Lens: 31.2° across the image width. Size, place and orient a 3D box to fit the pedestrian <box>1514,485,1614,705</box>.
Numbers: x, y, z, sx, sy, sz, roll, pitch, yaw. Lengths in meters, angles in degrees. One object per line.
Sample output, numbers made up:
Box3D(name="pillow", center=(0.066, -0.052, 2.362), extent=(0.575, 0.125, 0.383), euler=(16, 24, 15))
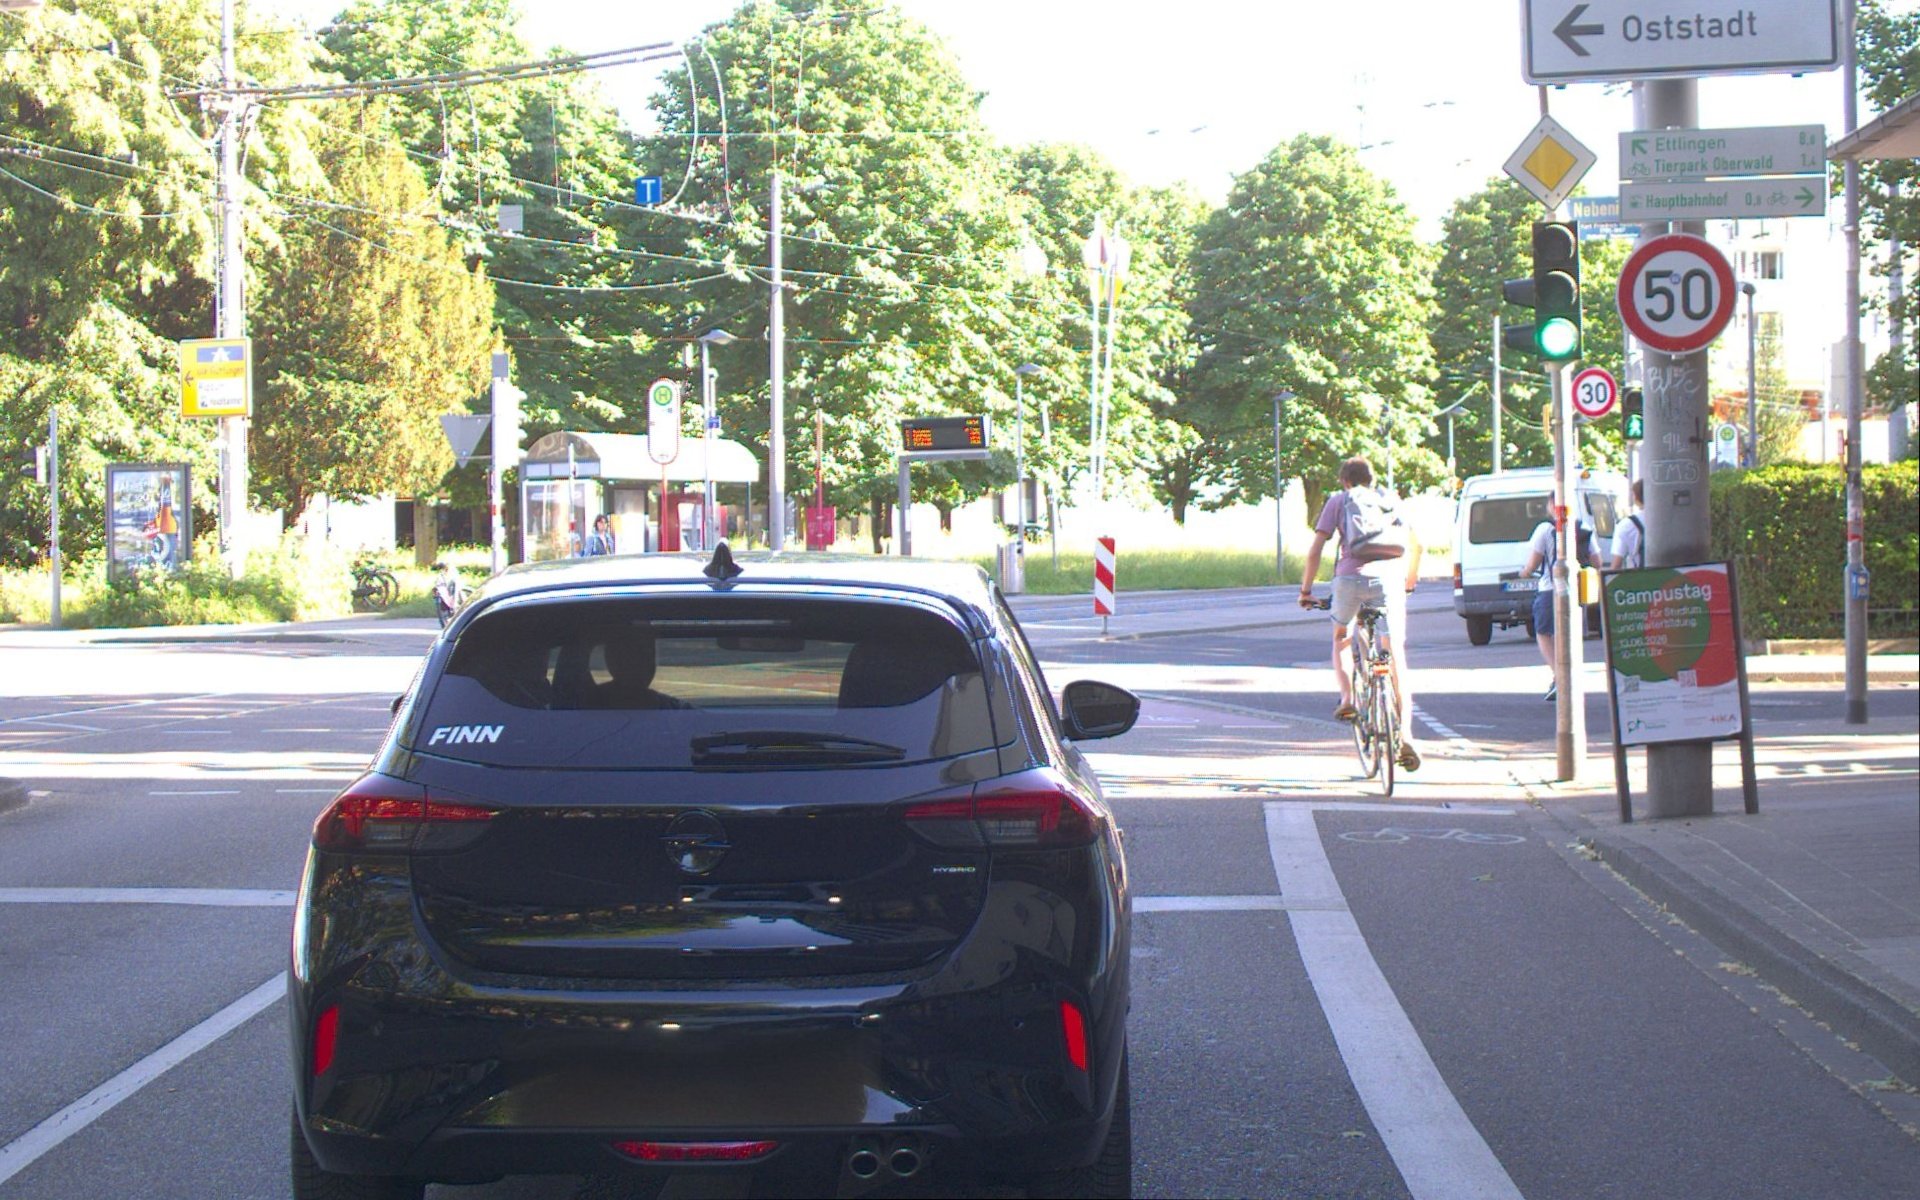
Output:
Box3D(name="pedestrian", center=(4.974, -0.045, 28.317), extent=(0.698, 1.786, 0.617), euler=(0, 1, -1))

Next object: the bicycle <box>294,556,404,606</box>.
Box3D(name="bicycle", center=(-11.229, -0.345, 63.169), extent=(1.877, 0.903, 0.659), euler=(0, 1, 7))

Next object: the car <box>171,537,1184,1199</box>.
Box3D(name="car", center=(-0.476, 0.586, 8.115), extent=(1.800, 1.436, 3.940), euler=(0, 1, 1))

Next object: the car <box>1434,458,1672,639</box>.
Box3D(name="car", center=(7.886, -0.667, 45.400), extent=(2.092, 2.270, 4.301), euler=(1, 0, 24))

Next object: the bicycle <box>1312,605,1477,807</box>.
Box3D(name="bicycle", center=(2.492, 0.584, 19.918), extent=(0.667, 1.056, 2.082), euler=(0, 1, -1))

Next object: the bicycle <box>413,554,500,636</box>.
Box3D(name="bicycle", center=(-6.724, -0.080, 45.974), extent=(0.825, 1.056, 1.883), euler=(0, 1, 2))

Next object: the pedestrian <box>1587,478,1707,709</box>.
Box3D(name="pedestrian", center=(5.566, -0.060, 27.852), extent=(0.704, 1.840, 0.699), euler=(0, 1, 39))

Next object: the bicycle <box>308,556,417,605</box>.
Box3D(name="bicycle", center=(-11.146, -0.366, 64.154), extent=(1.877, 0.903, 0.659), euler=(0, 1, 7))

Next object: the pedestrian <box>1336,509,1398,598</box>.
Box3D(name="pedestrian", center=(8.225, -0.940, 69.453), extent=(0.959, 1.786, 0.994), euler=(0, 1, 25))

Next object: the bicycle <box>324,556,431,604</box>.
Box3D(name="bicycle", center=(-11.009, -0.380, 65.025), extent=(1.877, 0.903, 0.659), euler=(0, 1, 7))

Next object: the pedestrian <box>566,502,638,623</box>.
Box3D(name="pedestrian", center=(-5.054, -0.537, 48.563), extent=(0.699, 1.687, 0.727), euler=(-2, 2, -43))

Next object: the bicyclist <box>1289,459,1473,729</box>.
Box3D(name="bicyclist", center=(2.429, -0.050, 19.960), extent=(0.840, 1.504, 1.369), euler=(0, 1, -2))
